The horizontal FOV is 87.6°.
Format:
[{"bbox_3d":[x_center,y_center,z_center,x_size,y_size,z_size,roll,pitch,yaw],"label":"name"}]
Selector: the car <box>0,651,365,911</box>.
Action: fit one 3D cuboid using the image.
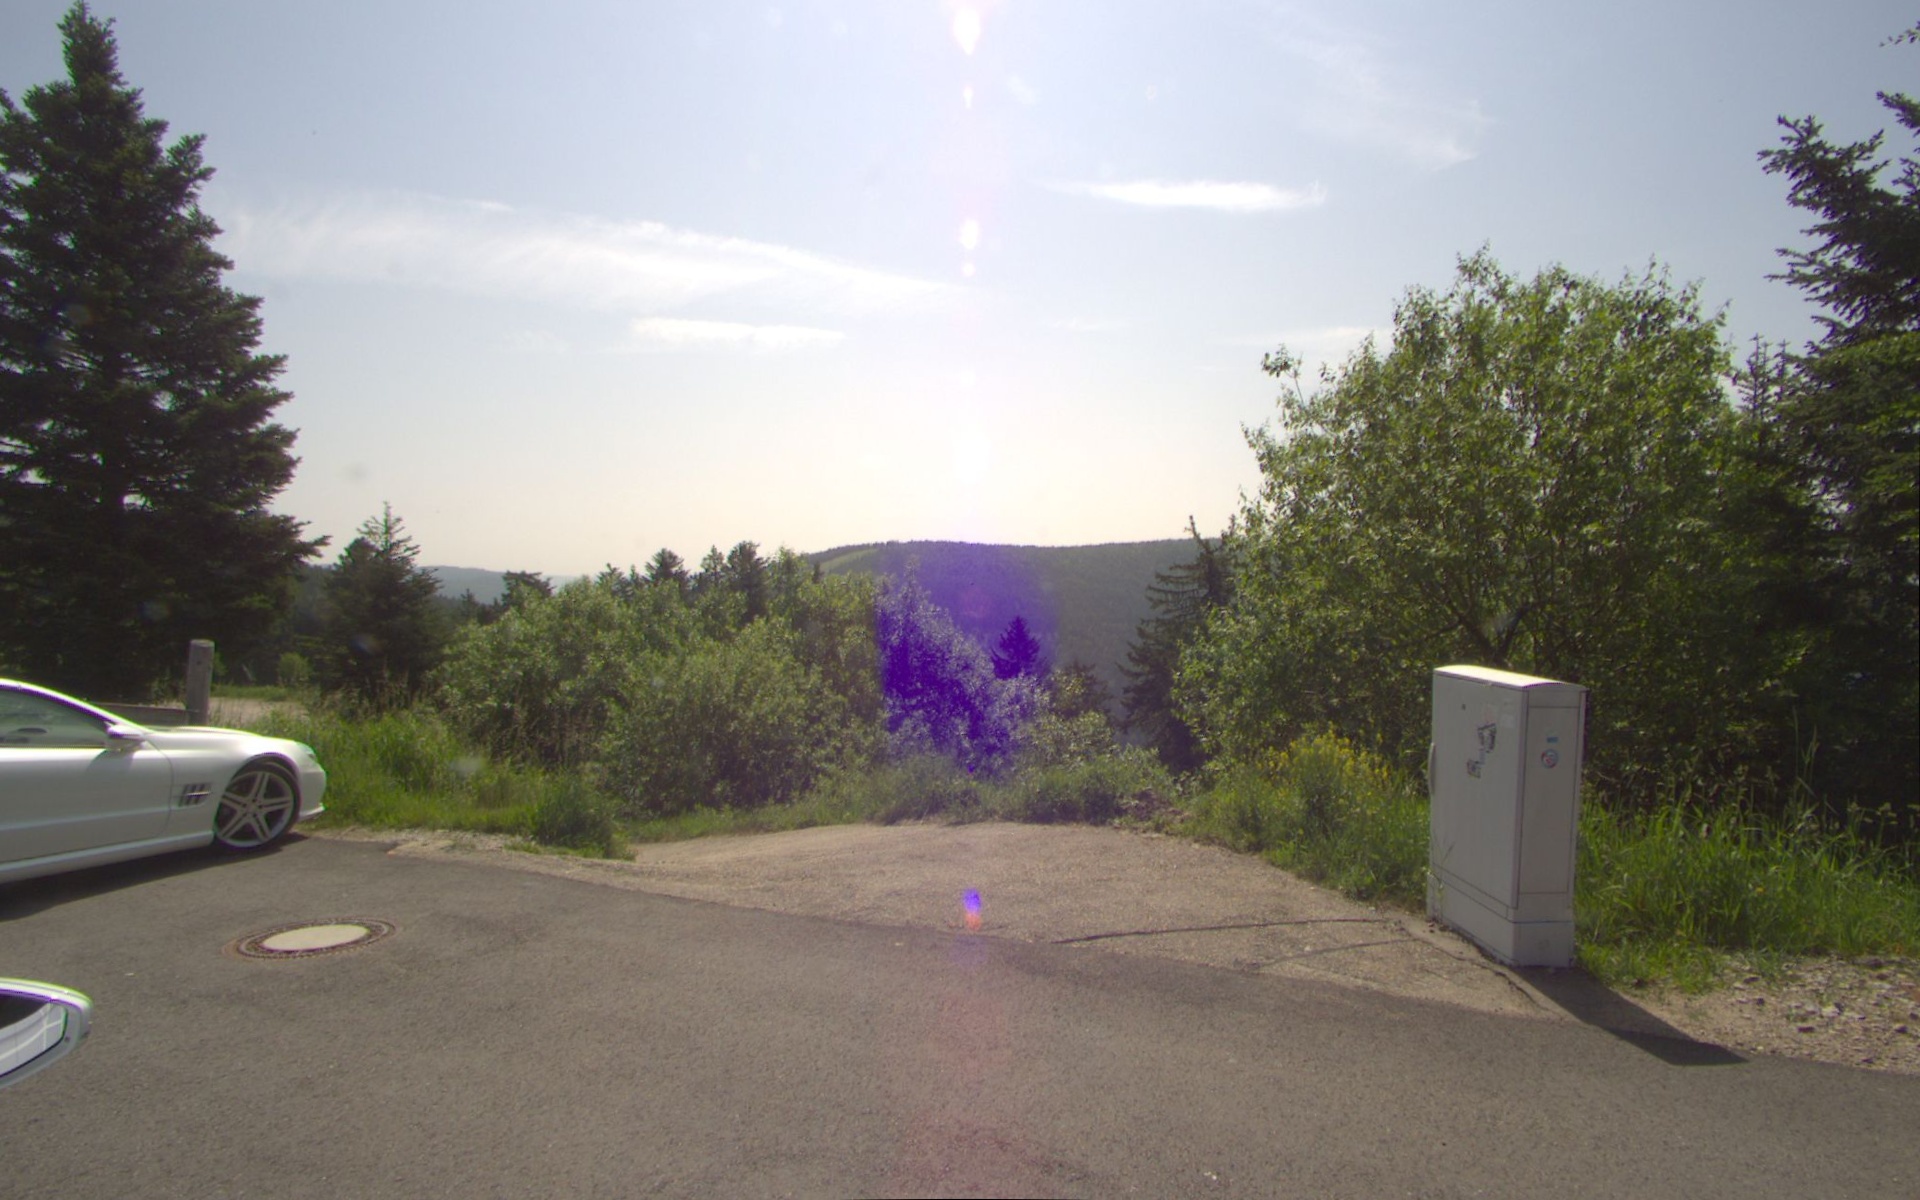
[{"bbox_3d":[-5.821,0.977,5.776,1.722,1.312,4.415,1,-3,7],"label":"car"}]
